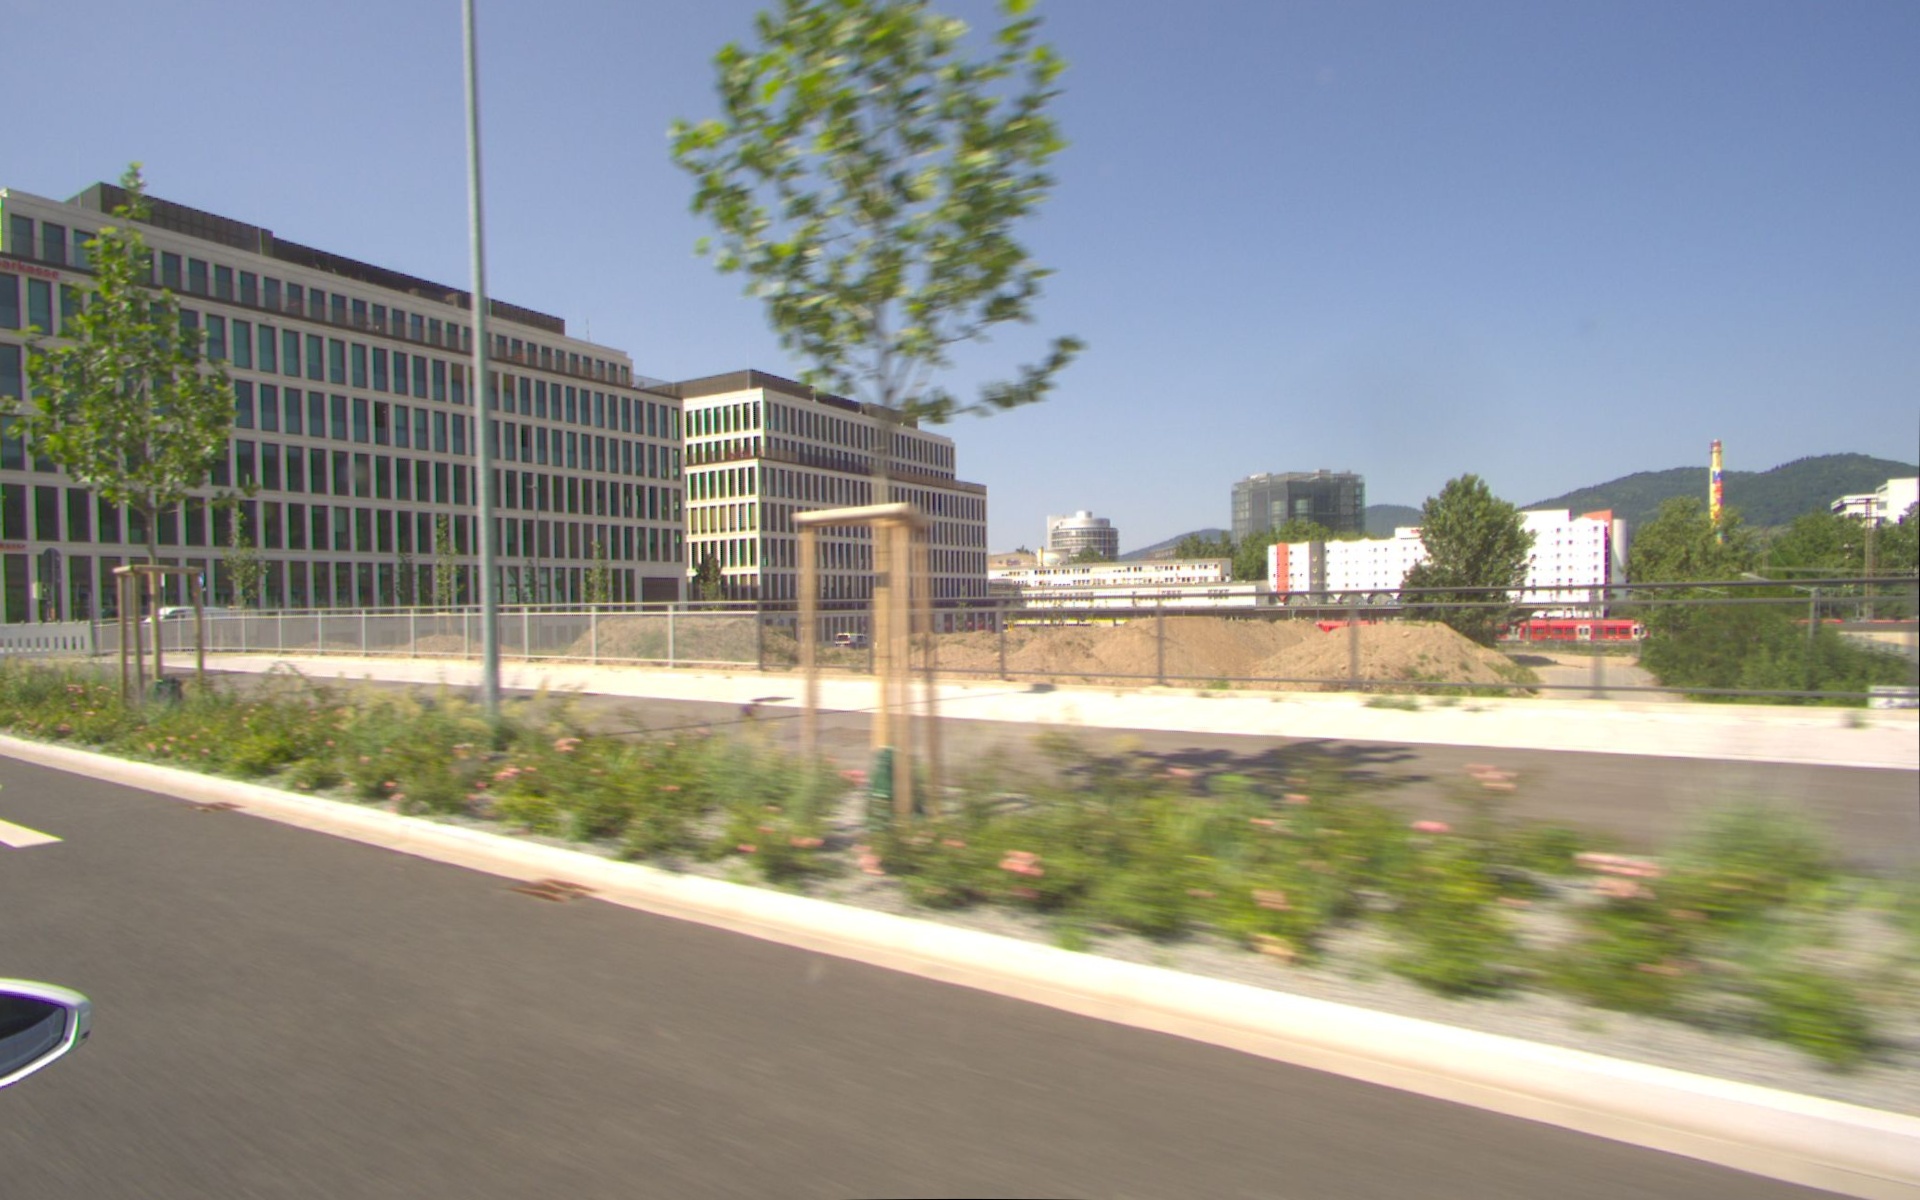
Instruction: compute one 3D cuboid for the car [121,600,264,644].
[{"bbox_3d":[-41.910,1.249,54.836,2.117,2.299,5.825,0,-2,34],"label":"car"}]
